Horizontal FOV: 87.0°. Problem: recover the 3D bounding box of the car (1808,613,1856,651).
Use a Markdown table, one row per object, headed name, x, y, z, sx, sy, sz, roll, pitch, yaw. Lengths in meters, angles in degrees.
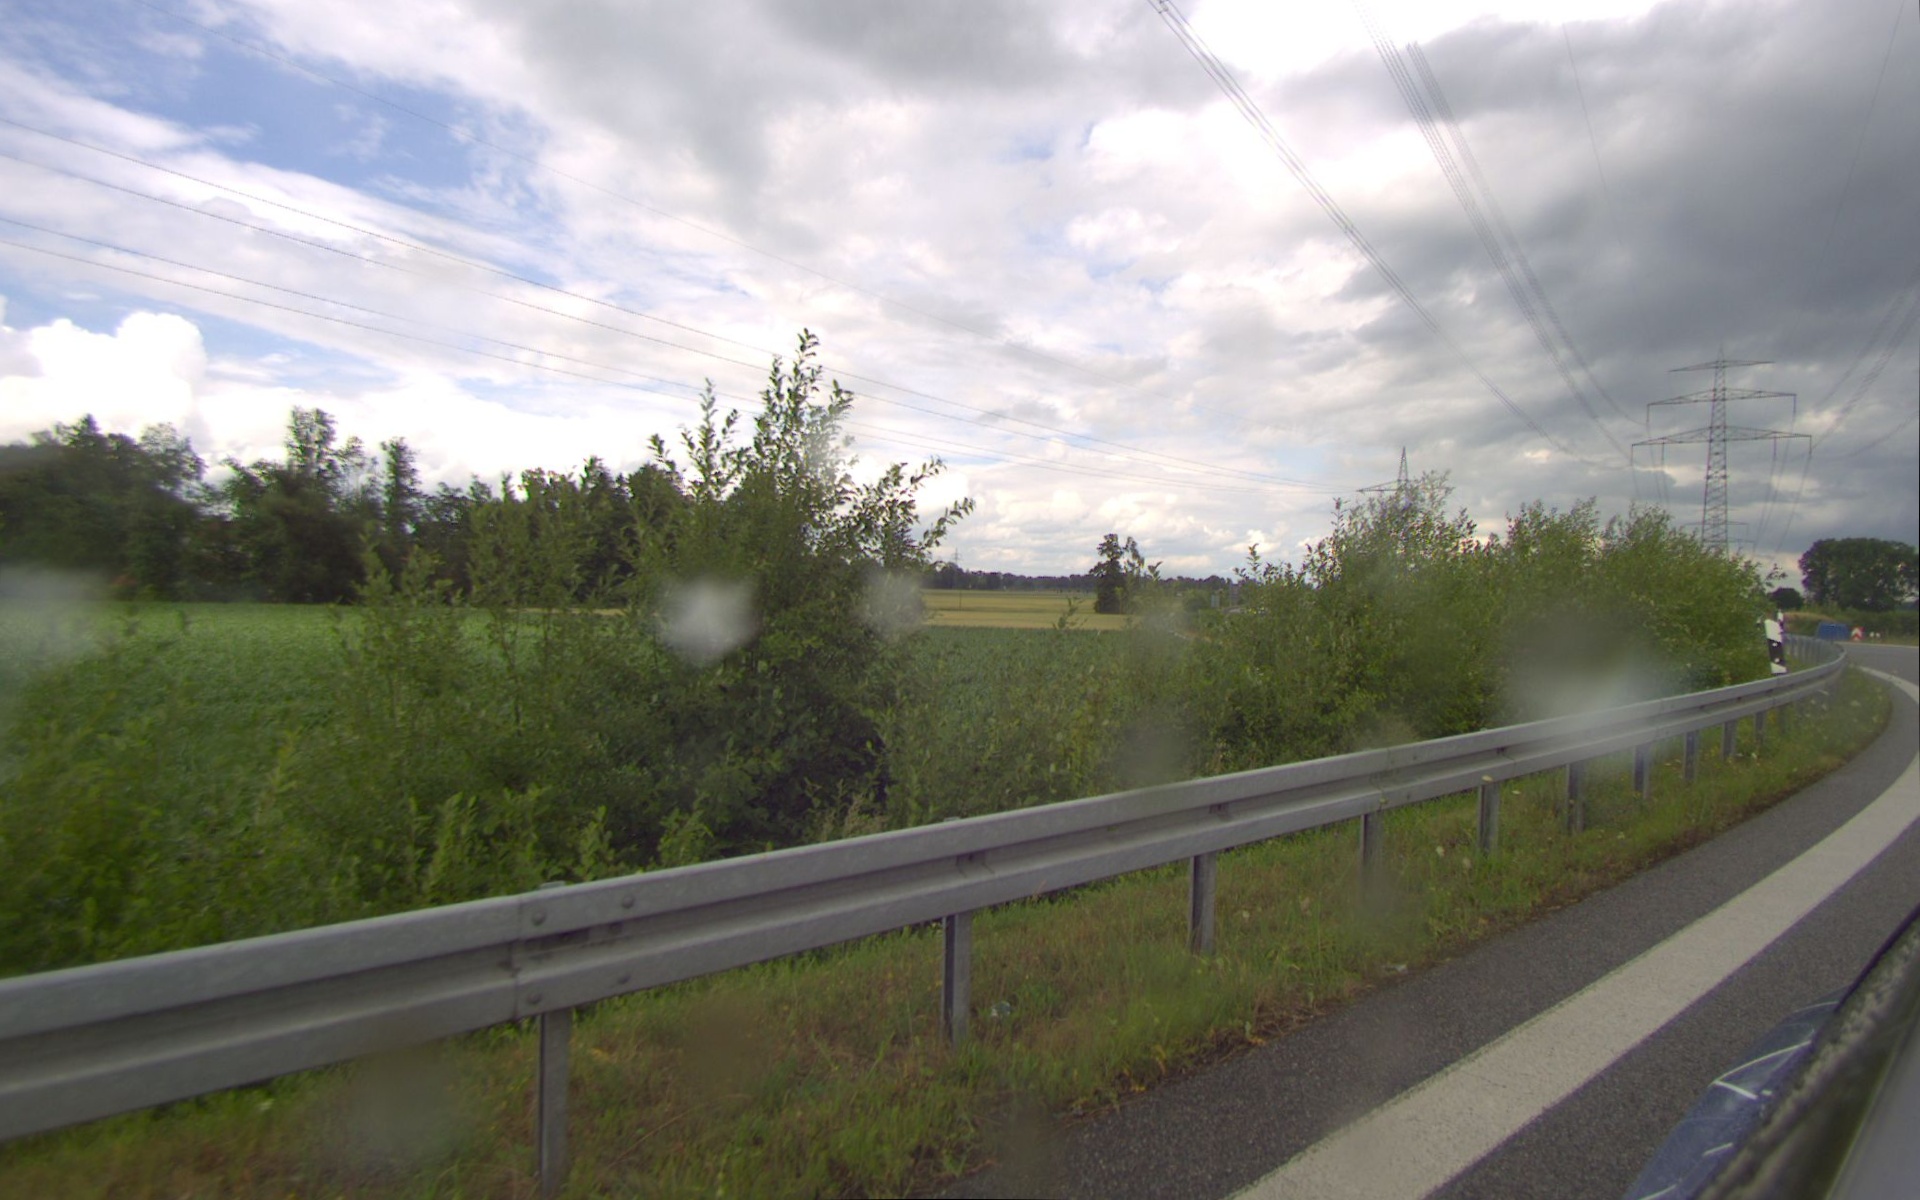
| name | x | y | z | sx | sy | sz | roll | pitch | yaw |
| --- | --- | --- | --- | --- | --- | --- | --- | --- | --- |
| car | 68.897 | 2.492 | 80.061 | 2.321 | 2.760 | 6.198 | 2 | 0 | 37 |
